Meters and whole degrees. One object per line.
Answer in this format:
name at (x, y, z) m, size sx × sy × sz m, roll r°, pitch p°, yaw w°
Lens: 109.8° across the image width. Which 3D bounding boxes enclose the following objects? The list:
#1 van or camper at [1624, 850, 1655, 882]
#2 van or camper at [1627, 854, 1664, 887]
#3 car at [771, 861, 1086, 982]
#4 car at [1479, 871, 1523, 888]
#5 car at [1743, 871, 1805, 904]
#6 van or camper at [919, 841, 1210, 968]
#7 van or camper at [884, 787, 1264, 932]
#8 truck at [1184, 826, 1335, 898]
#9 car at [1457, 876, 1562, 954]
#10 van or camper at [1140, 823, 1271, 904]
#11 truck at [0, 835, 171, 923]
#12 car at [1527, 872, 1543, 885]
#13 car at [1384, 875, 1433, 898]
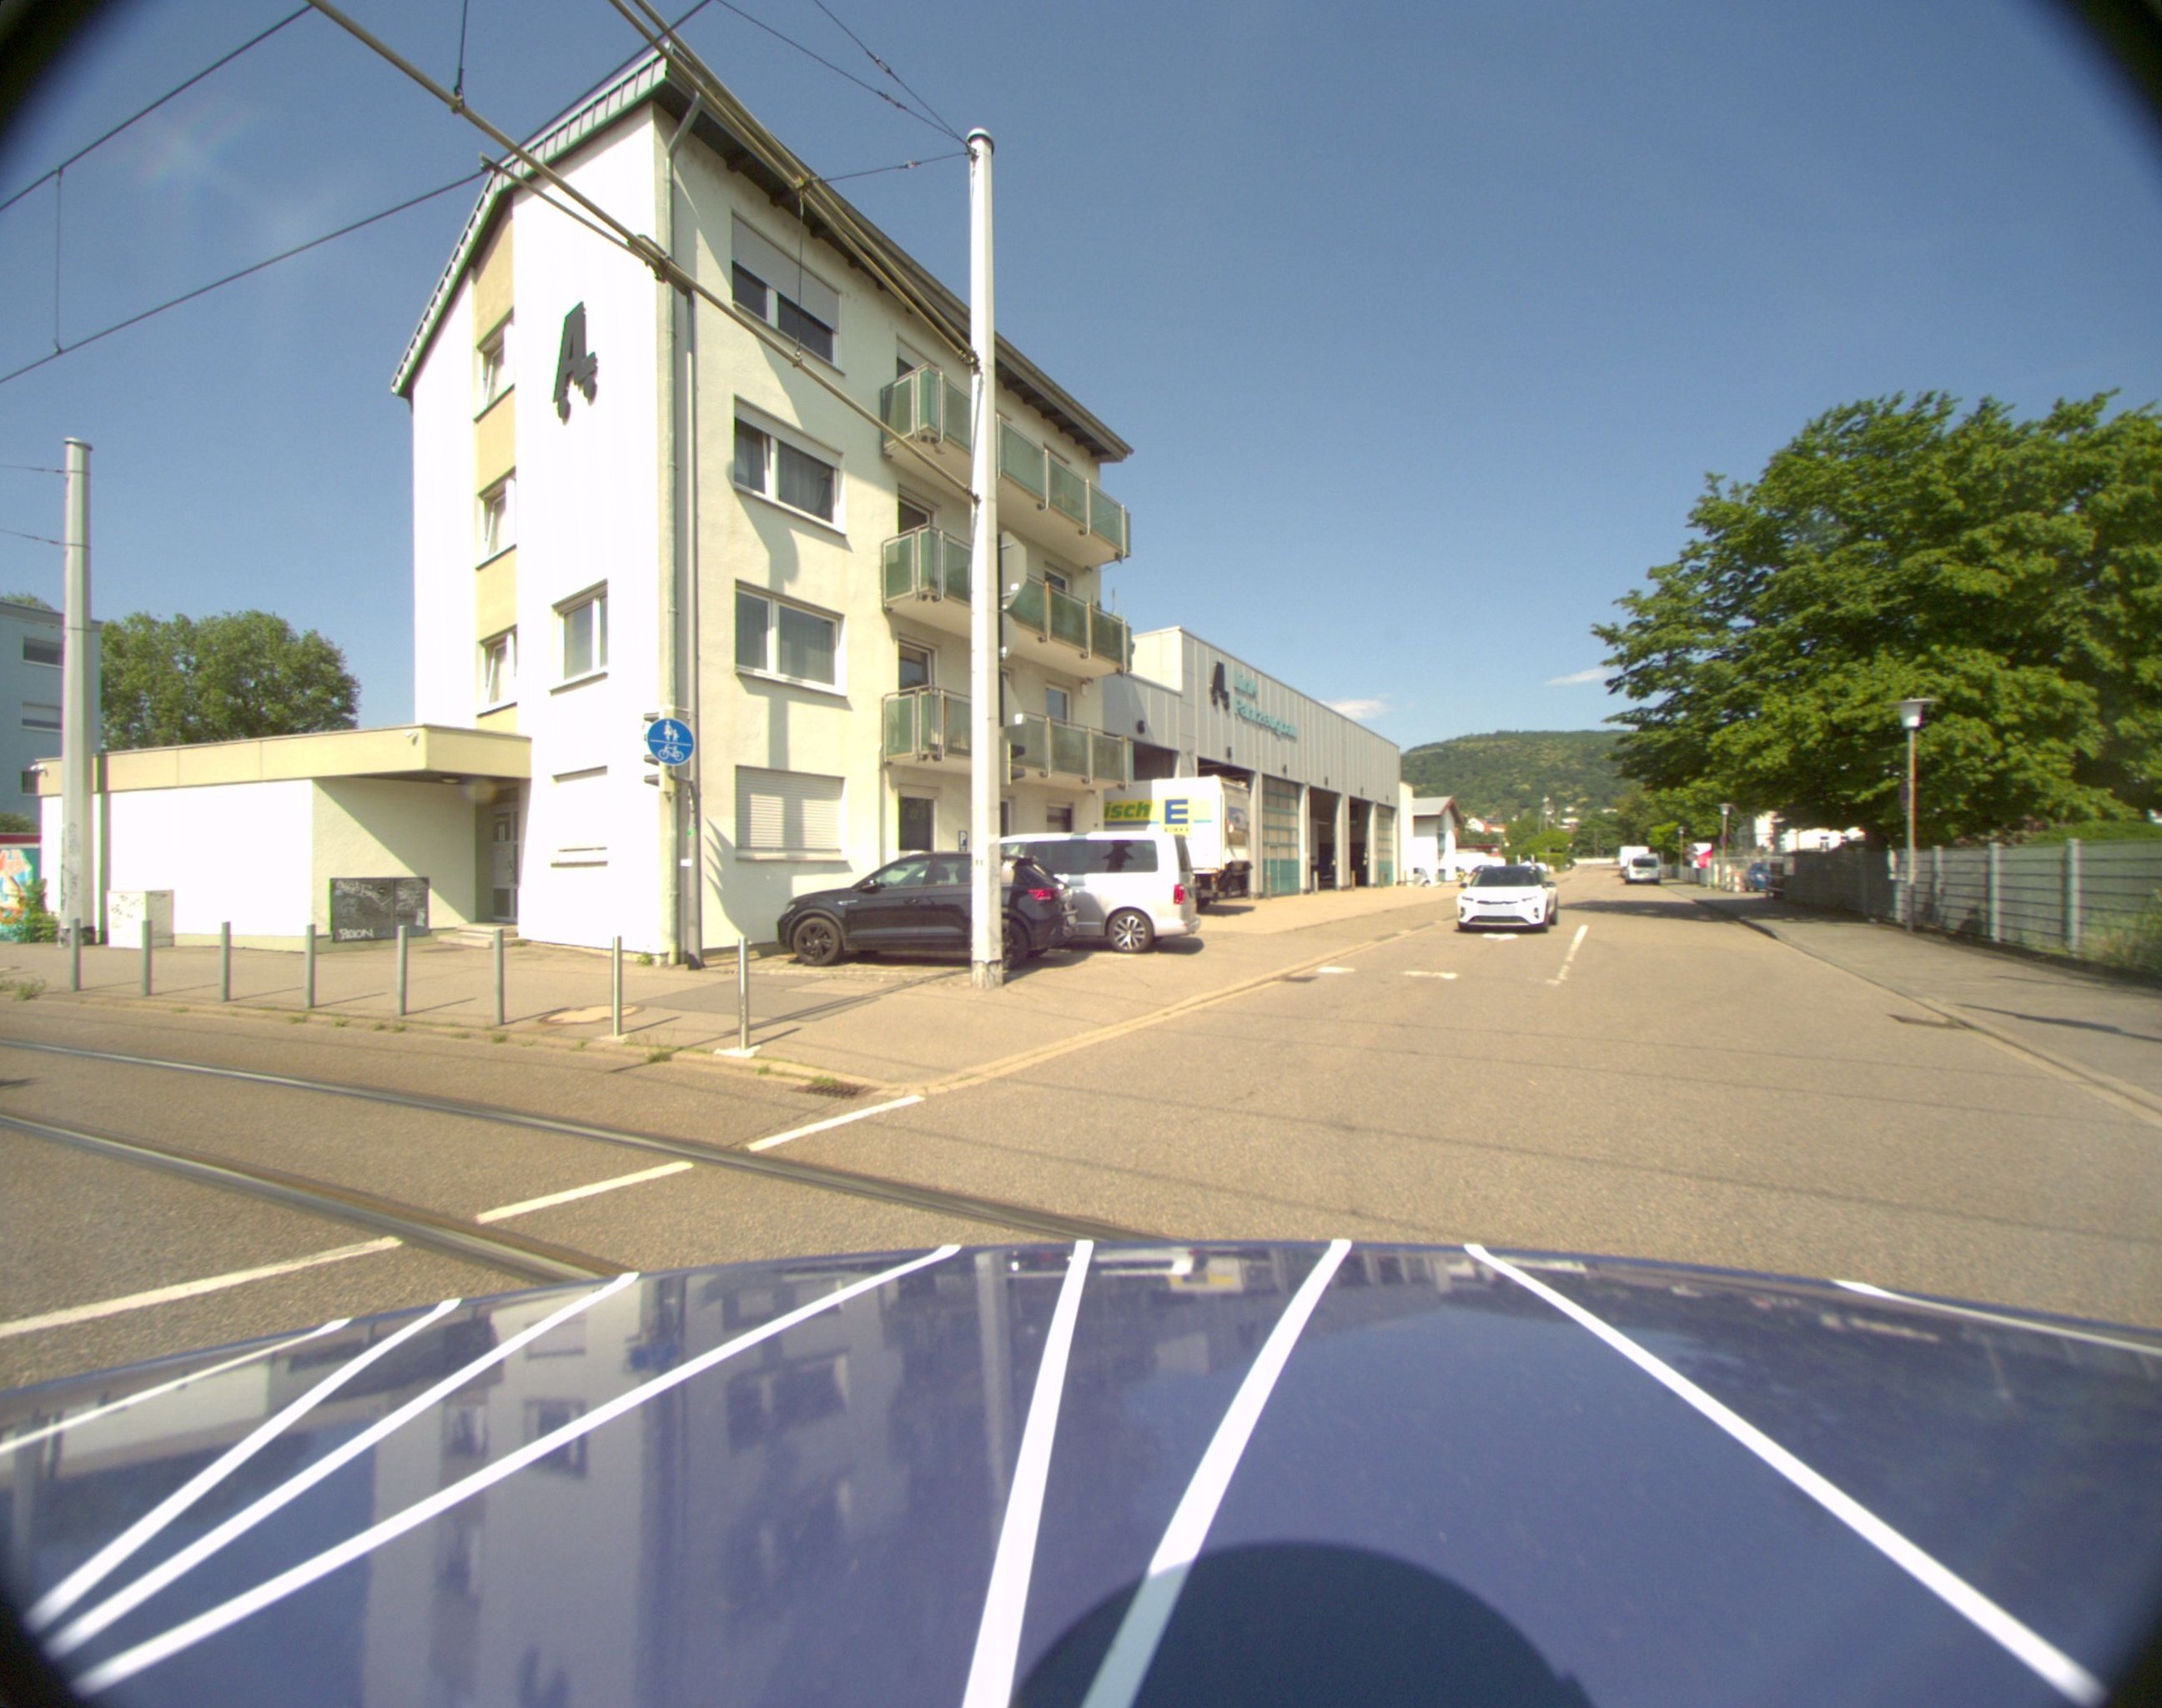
van or camper at (60.482, 1.294, 82.406) m, size 2.520 × 3.350 × 5.604 m, roll 0°, pitch 0°, yaw 35°
van or camper at (42.636, 1.222, 57.437) m, size 2.024 × 2.363 × 4.696 m, roll 1°, pitch 0°, yaw 35°
car at (-2.056, 0.871, 10.826) m, size 3.967 × 1.512 × 1.882 m, roll 0°, pitch -1°, yaw 10°
car at (34.203, 2.057, 61.889) m, size 2.969 × 1.332 × 1.456 m, roll -1°, pitch -1°, yaw 36°
car at (33.536, 1.591, 36.862) m, size 1.641 × 1.449 × 3.533 m, roll -3°, pitch -2°, yaw 34°
van or camper at (-0.207, 0.767, 12.973) m, size 4.547 × 1.896 × 2.003 m, roll 0°, pitch -1°, yaw 15°
van or camper at (-0.596, 0.084, 23.179) m, size 11.605 × 3.671 × 2.787 m, roll 1°, pitch 0°, yaw 28°
truck at (9.939, 0.444, 42.762) m, size 7.838 × 3.759 × 2.630 m, roll 0°, pitch -1°, yaw 36°
car at (10.094, 1.308, 17.746) m, size 1.733 × 1.521 × 4.118 m, roll 0°, pitch -1°, yaw 35°
van or camper at (5.238, 0.441, 32.219) m, size 5.045 × 3.186 × 2.004 m, roll -1°, pitch -1°, yaw 33°
truck at (-32.794, 0.756, 23.938) m, size 2.184 × 2.611 × 4.842 m, roll 0°, pitch 0°, yaw 23°
car at (52.056, 2.842, 87.158) m, size 1.449 × 1.370 × 3.194 m, roll -3°, pitch -2°, yaw 32°
car at (22.100, 2.165, 51.317) m, size 2.824 × 1.524 × 1.312 m, roll 1°, pitch -2°, yaw -12°
